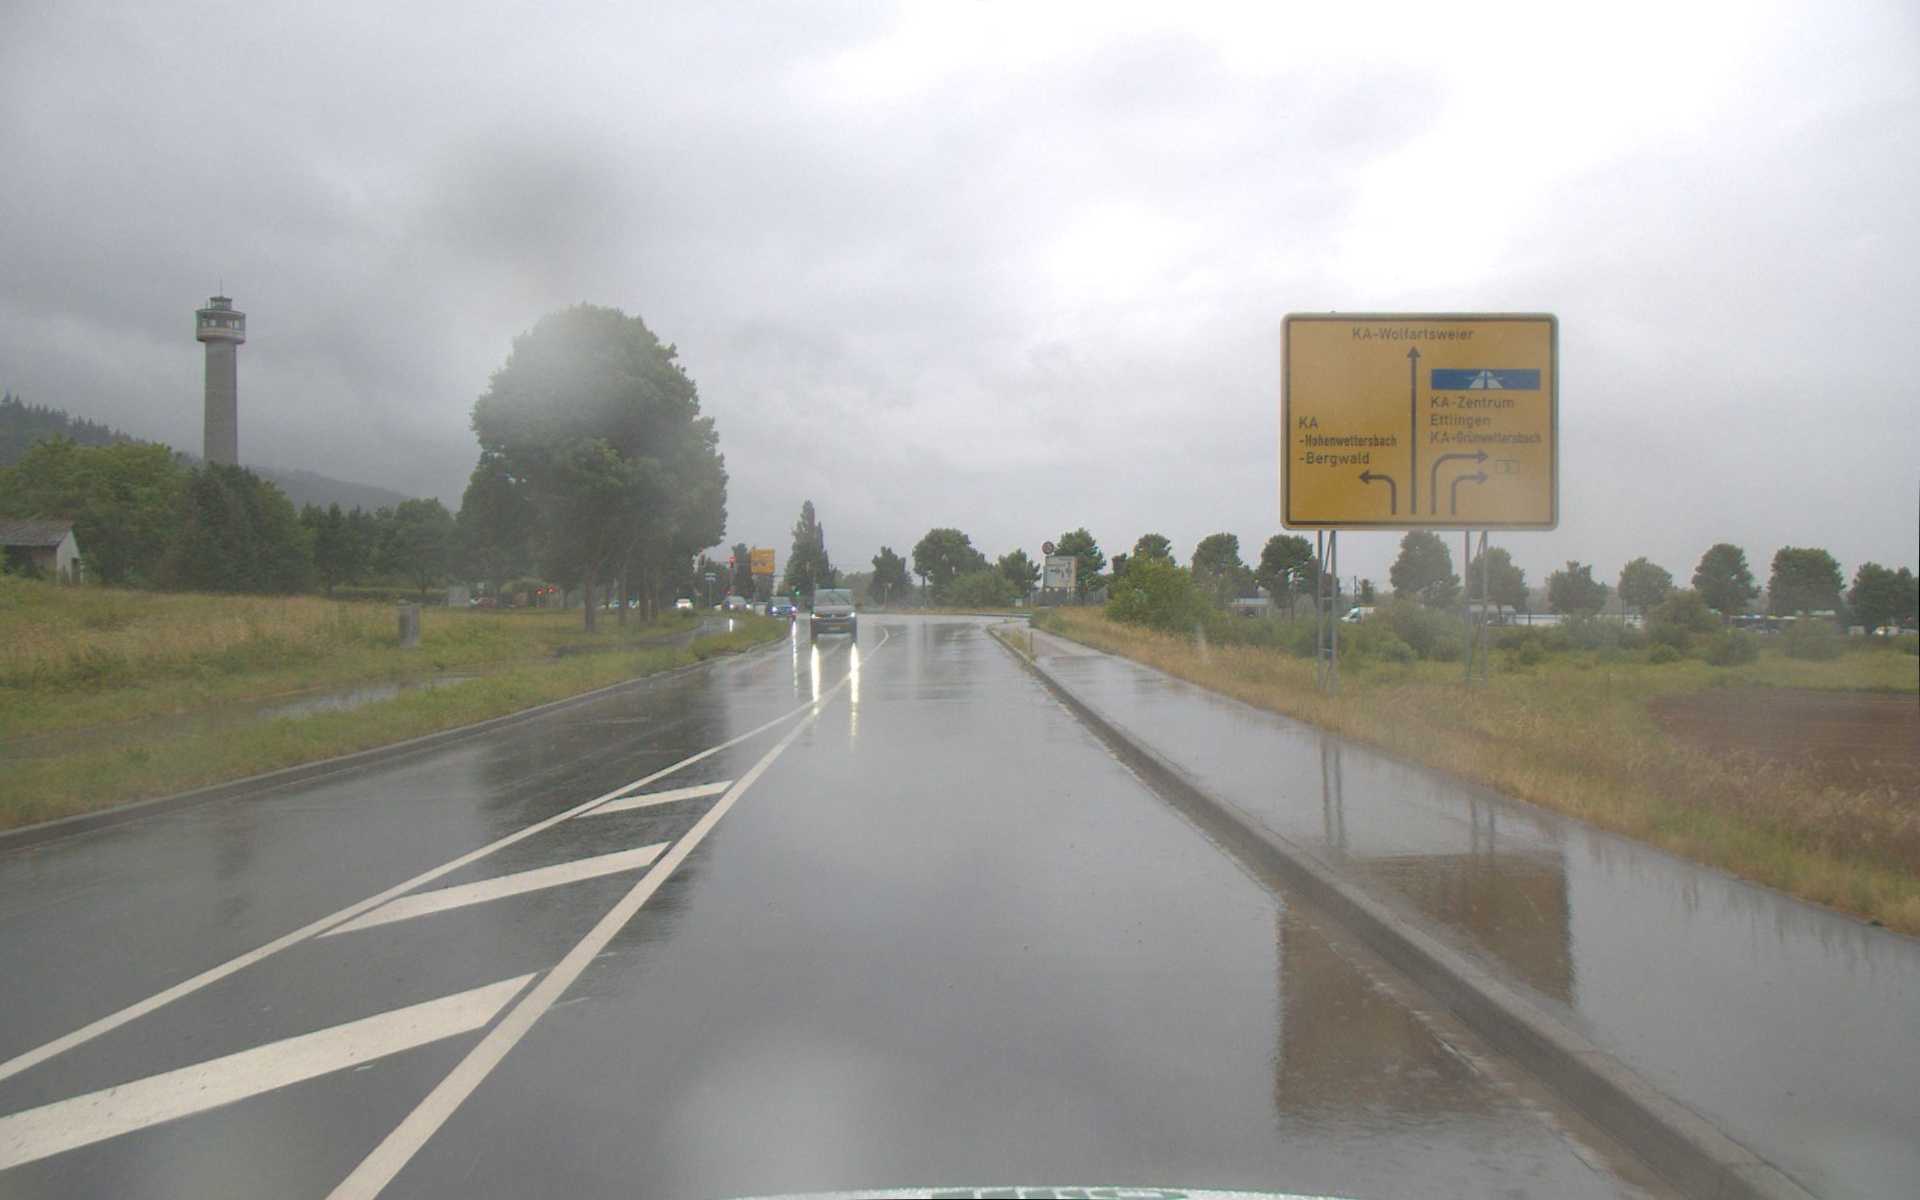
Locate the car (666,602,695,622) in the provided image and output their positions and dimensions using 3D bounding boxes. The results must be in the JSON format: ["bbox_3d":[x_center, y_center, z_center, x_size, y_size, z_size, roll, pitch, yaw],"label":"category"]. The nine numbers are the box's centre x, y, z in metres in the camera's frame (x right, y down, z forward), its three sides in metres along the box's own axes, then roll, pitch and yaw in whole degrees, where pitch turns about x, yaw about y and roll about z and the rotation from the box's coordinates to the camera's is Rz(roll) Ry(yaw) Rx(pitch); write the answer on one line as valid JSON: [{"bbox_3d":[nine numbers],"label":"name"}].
[{"bbox_3d":[-30.444,1.286,180.081,1.971,2.049,3.963,2,0,-28],"label":"car"}]

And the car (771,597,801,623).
[{"bbox_3d":[-12.504,0.692,118.749,1.870,1.751,3.993,-3,0,-8],"label":"car"}]

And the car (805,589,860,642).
[{"bbox_3d":[-5.103,0.604,66.834,1.953,2.007,4.955,-2,0,-2],"label":"car"}]

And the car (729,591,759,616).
[{"bbox_3d":[-18.471,0.288,141.351,1.961,2.049,3.983,2,0,-15],"label":"car"}]
